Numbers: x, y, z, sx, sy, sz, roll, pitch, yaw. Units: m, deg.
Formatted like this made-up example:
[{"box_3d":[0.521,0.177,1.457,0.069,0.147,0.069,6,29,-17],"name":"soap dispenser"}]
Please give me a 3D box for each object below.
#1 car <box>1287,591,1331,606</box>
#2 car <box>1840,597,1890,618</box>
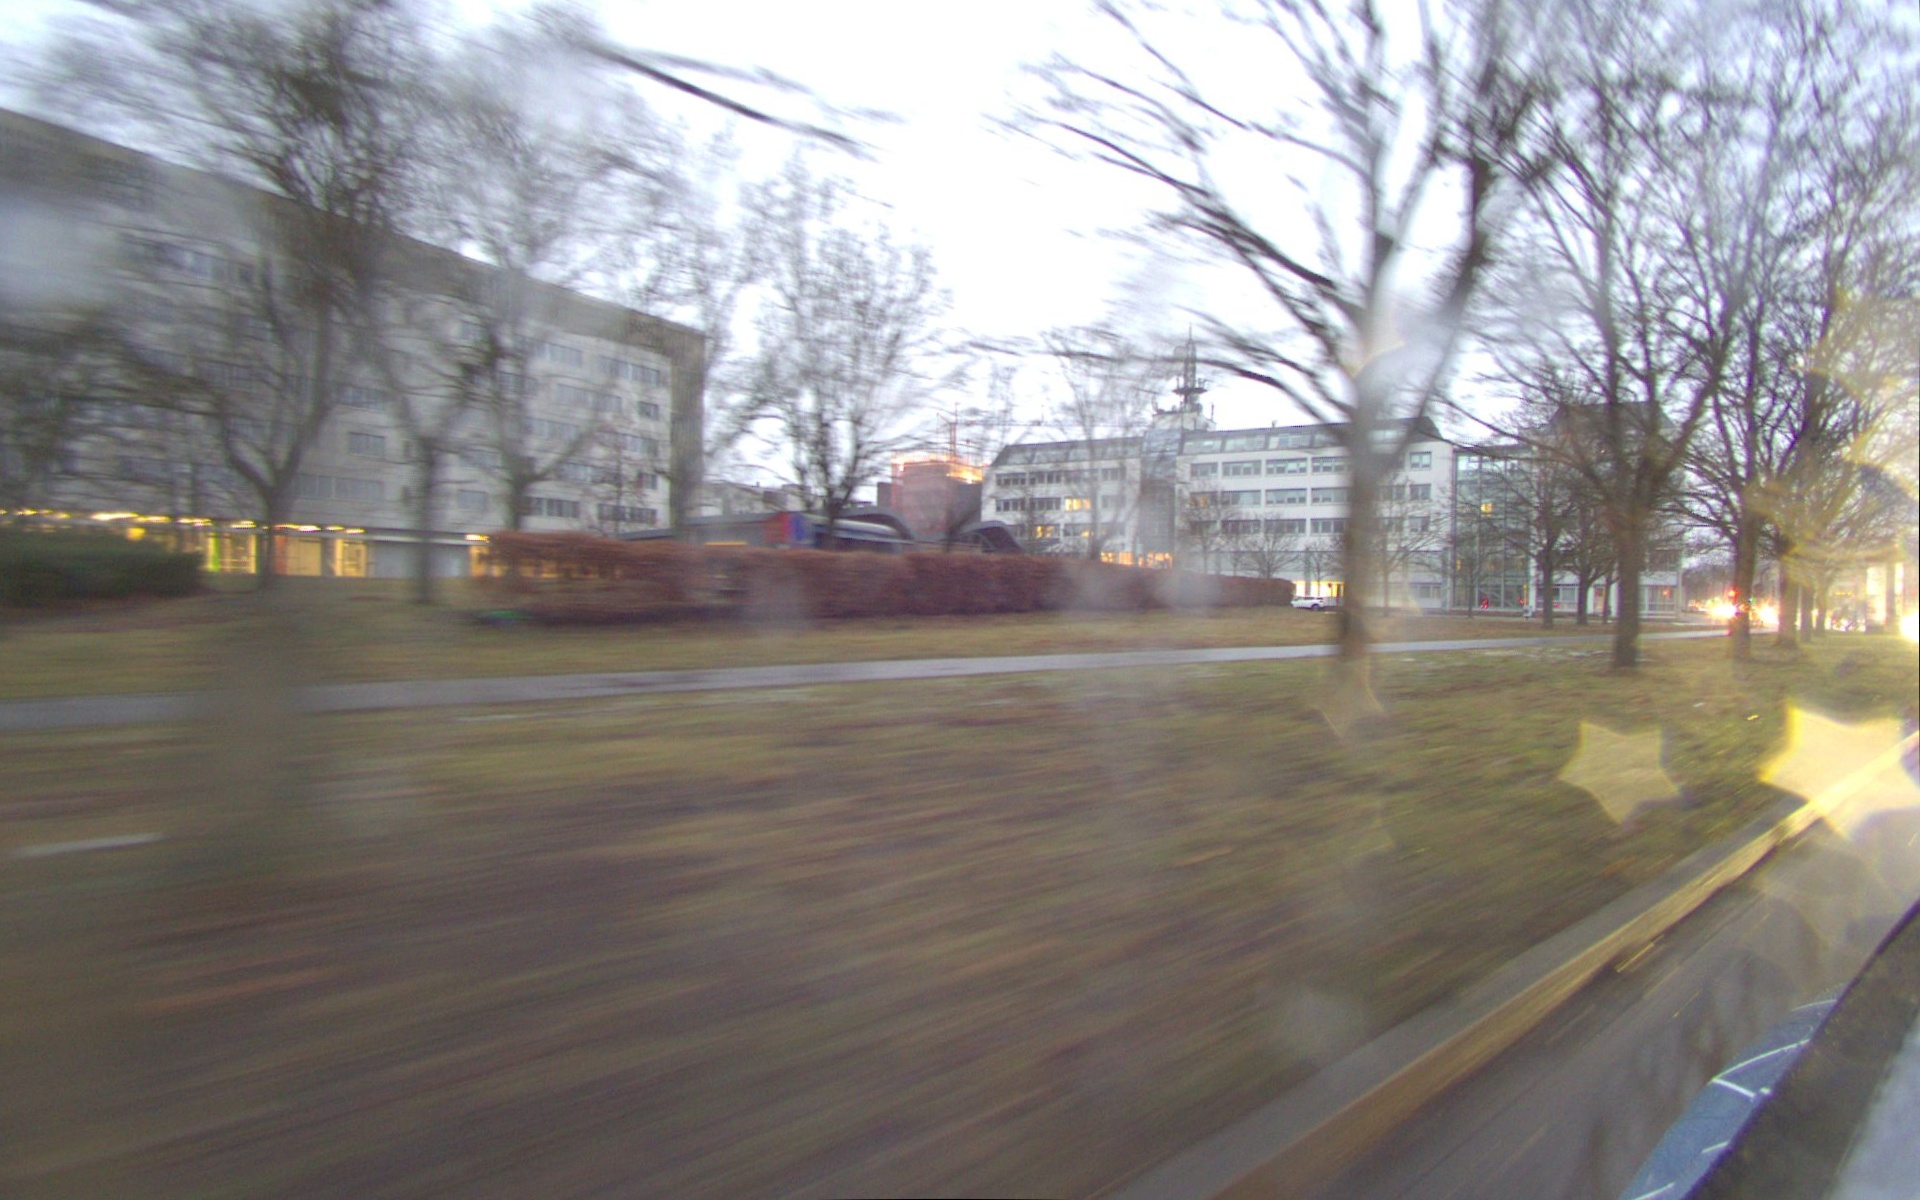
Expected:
[{"box_3d":[37.125,-0.152,107.566,4.129,1.456,1.884,2,1,30],"name":"car"},{"box_3d":[70.333,0.563,78.681,1.933,1.575,4.174,0,-1,28],"name":"car"}]
